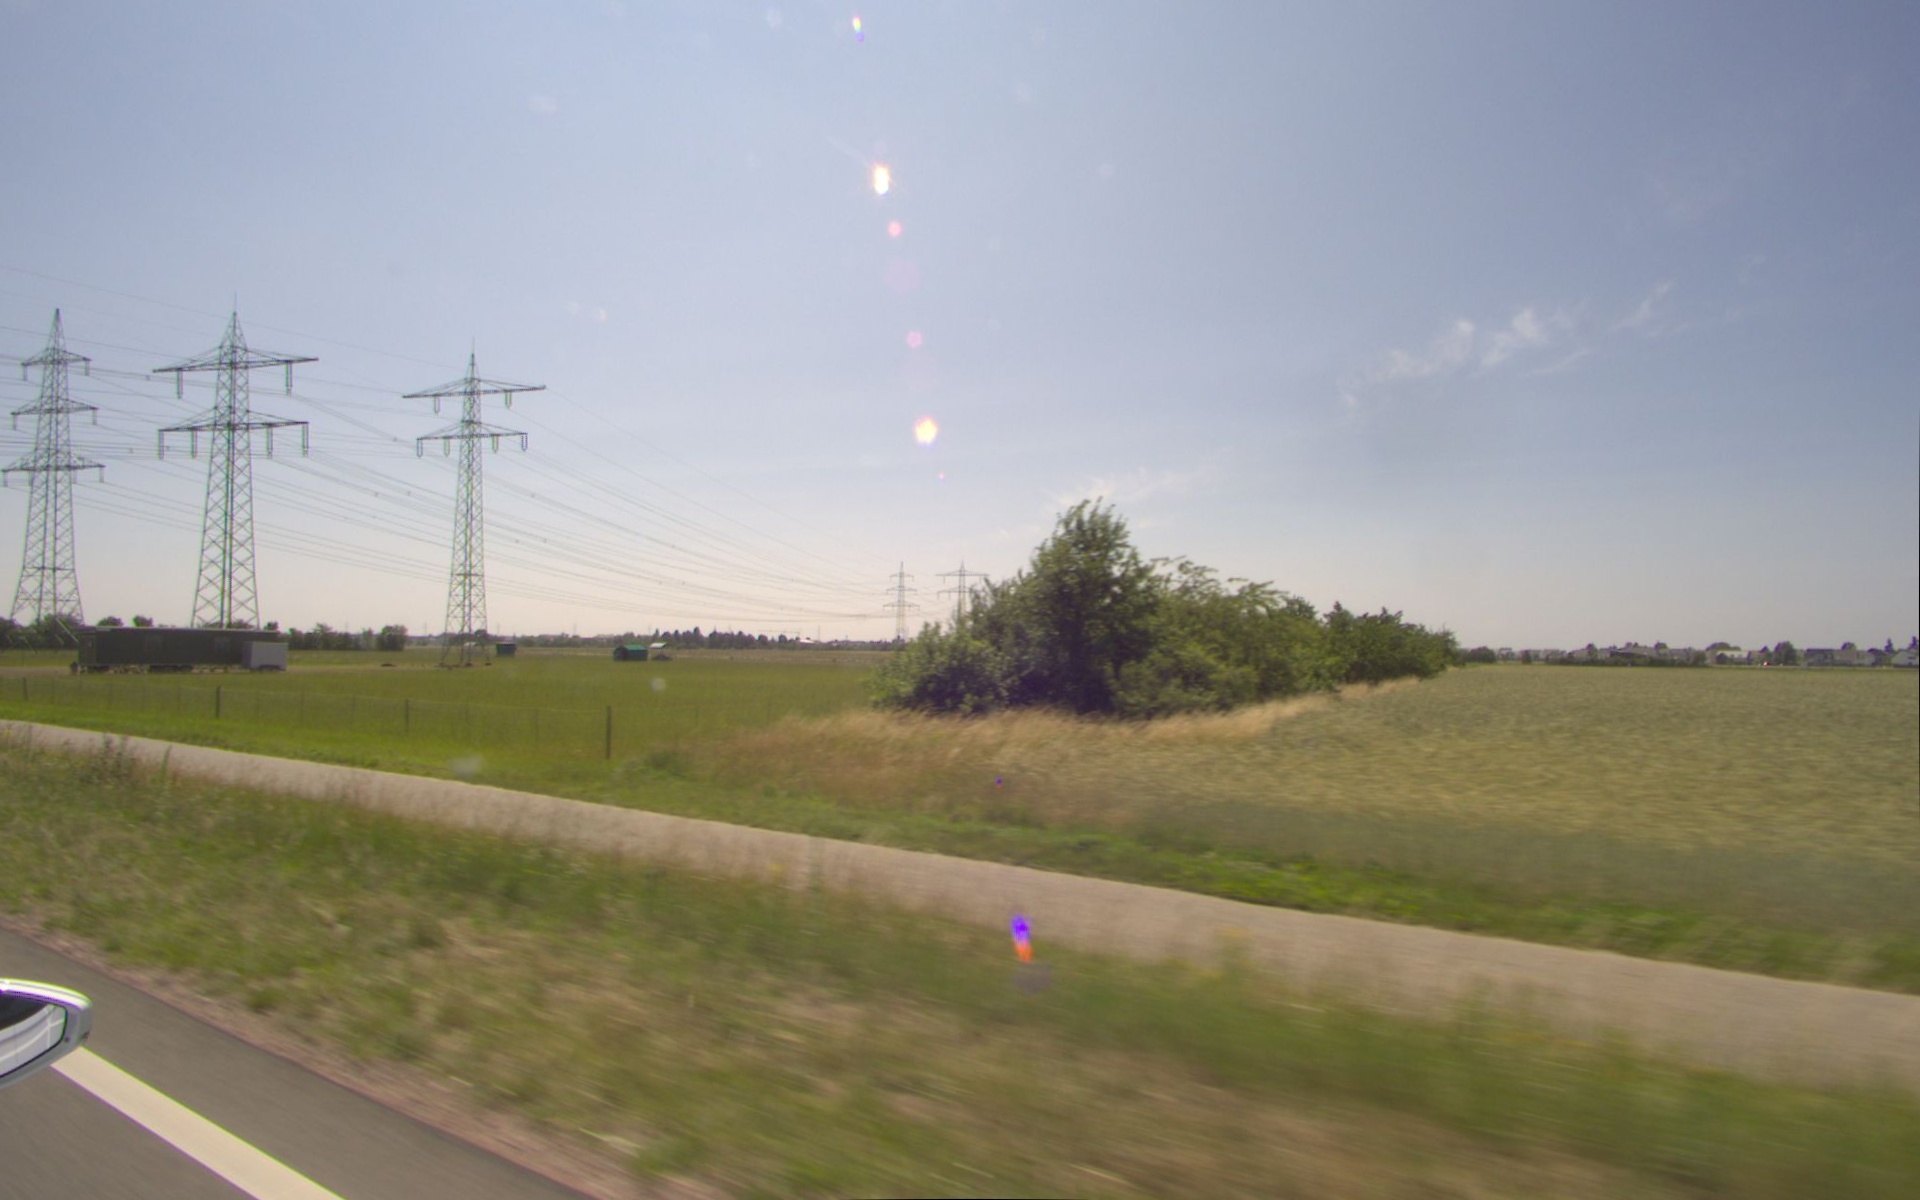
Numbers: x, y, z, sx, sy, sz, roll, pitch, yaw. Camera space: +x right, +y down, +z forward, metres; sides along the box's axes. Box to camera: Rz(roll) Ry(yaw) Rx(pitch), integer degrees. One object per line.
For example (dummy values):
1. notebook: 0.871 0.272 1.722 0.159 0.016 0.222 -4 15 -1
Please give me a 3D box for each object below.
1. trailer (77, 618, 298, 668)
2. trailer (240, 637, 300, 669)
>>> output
1. trailer: -59.955 3.425 78.477 3.227 3.518 13.502 0 -3 29
2. trailer: -55.553 4.229 80.636 2.007 2.493 3.405 0 -3 30
